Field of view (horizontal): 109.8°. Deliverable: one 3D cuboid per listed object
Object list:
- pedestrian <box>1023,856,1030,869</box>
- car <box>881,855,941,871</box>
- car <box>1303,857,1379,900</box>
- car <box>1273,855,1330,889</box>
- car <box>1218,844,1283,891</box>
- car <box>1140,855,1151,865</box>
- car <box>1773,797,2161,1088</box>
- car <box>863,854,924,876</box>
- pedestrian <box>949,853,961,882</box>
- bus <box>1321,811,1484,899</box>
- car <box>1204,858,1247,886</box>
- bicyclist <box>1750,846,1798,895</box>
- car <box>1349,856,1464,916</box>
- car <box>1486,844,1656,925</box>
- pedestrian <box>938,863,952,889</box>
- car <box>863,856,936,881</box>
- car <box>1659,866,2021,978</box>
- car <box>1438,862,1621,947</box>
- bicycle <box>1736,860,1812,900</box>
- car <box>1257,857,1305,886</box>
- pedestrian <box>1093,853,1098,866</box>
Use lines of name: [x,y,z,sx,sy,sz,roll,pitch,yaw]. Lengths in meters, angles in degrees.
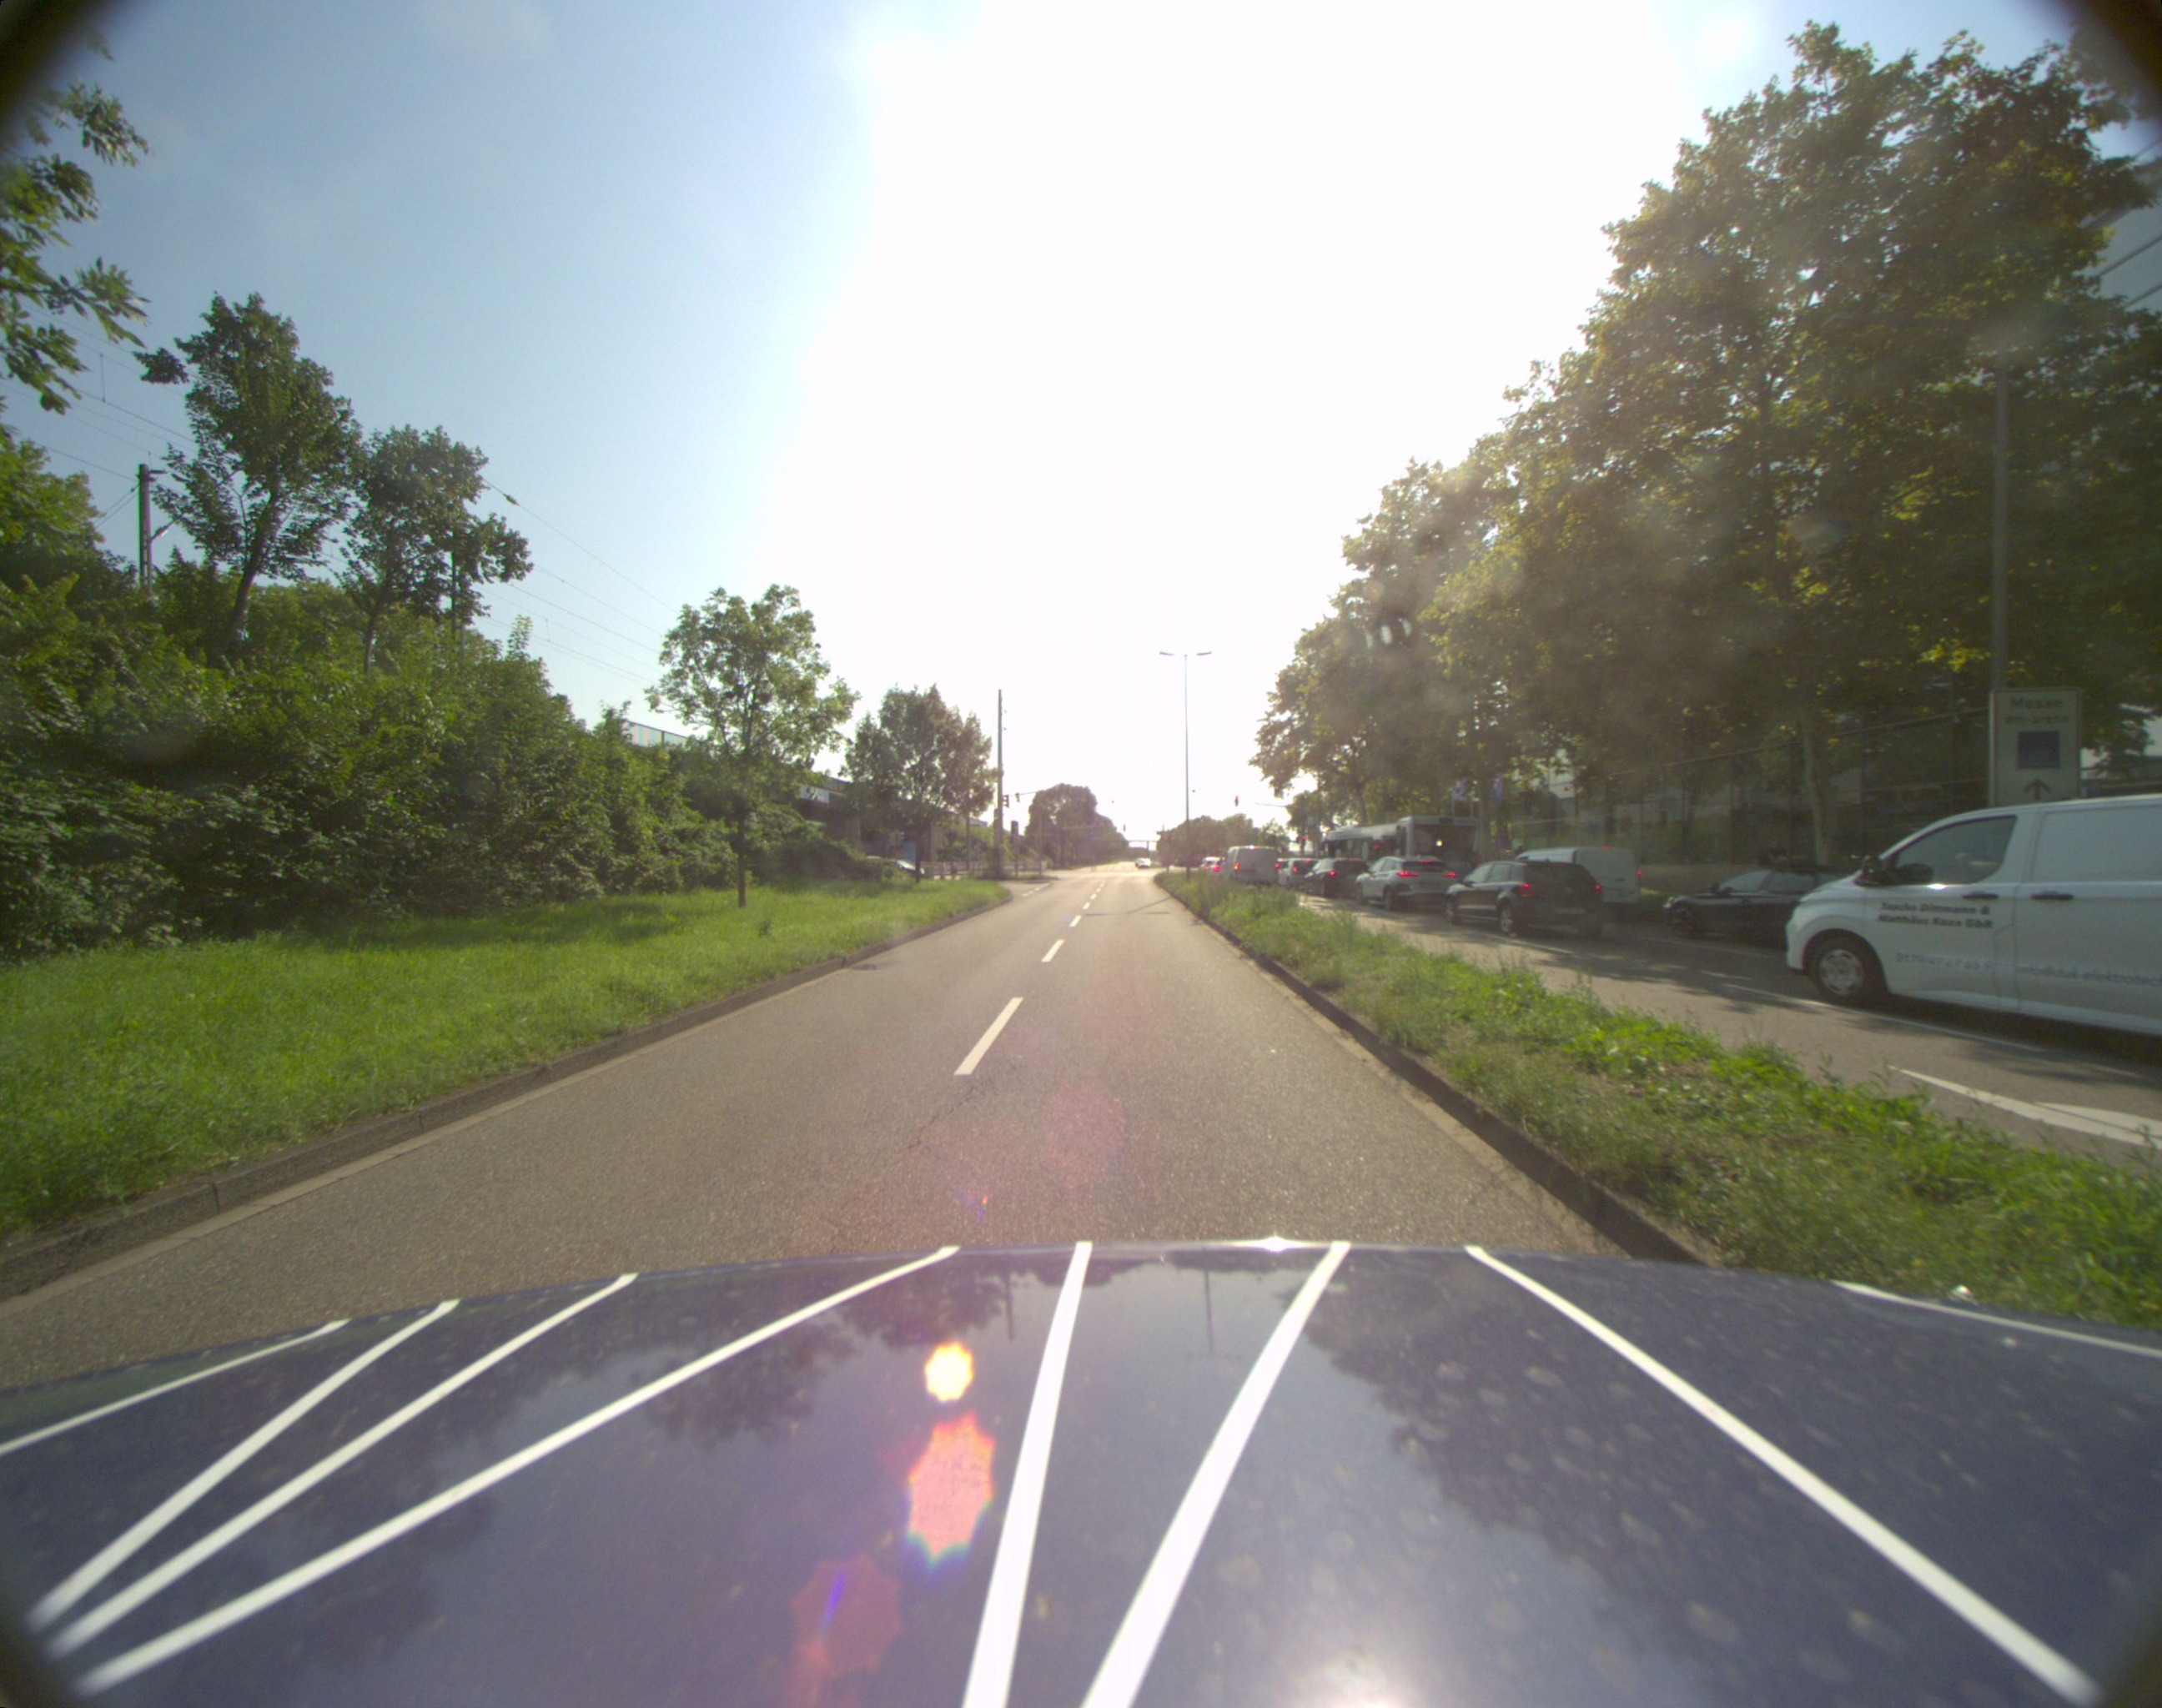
pedestrian: [-6.416,0.973,88.843,0.636,1.565,0.489,-2,1,-38]
car: [-16.872,0.883,75.567,5.441,1.438,1.855,-1,0,-35]
car: [9.793,0.878,28.940,1.651,1.425,4.190,1,0,4]
car: [10.386,0.829,36.024,1.710,1.458,3.822,1,0,3]
car: [7.250,0.560,33.015,1.916,1.853,4.891,1,0,3]
car: [9.498,0.852,111.497,1.544,1.433,3.397,0,0,7]
car: [8.233,0.580,5.516,1.998,1.942,5.037,-1,0,3]
car: [-14.674,0.844,59.463,4.223,1.608,2.006,-1,0,-30]
pedestrian: [-7.504,0.797,45.271,0.493,1.672,0.570,-1,1,-27]
bus: [13.270,0.005,32.944,2.596,3.061,12.314,-1,0,4]
car: [7.650,0.941,40.547,1.713,1.394,4.085,1,0,3]
bicyclist: [20.576,0.489,22.559,0.649,1.431,0.840,0,1,2]
car: [9.294,0.851,22.050,1.698,1.520,4.141,1,0,3]
car: [12.896,0.710,20.413,1.707,1.877,4.749,1,0,4]
pedestrian: [-8.227,1.330,45.945,0.573,1.558,0.535,-2,2,-38]
car: [-11.592,0.930,48.478,4.184,1.524,1.873,-1,0,20]
car: [12.068,0.963,12.626,1.651,1.403,4.481,1,0,3]
car: [8.822,0.915,15.346,1.618,1.390,3.858,1,0,4]
bicycle: [20.565,0.747,22.588,0.649,1.101,1.800,0,0,2]
car: [10.725,0.910,41.028,1.710,1.433,4.001,1,0,3]
pedestrian: [1.895,0.675,99.507,0.587,1.715,0.647,0,1,-1]
